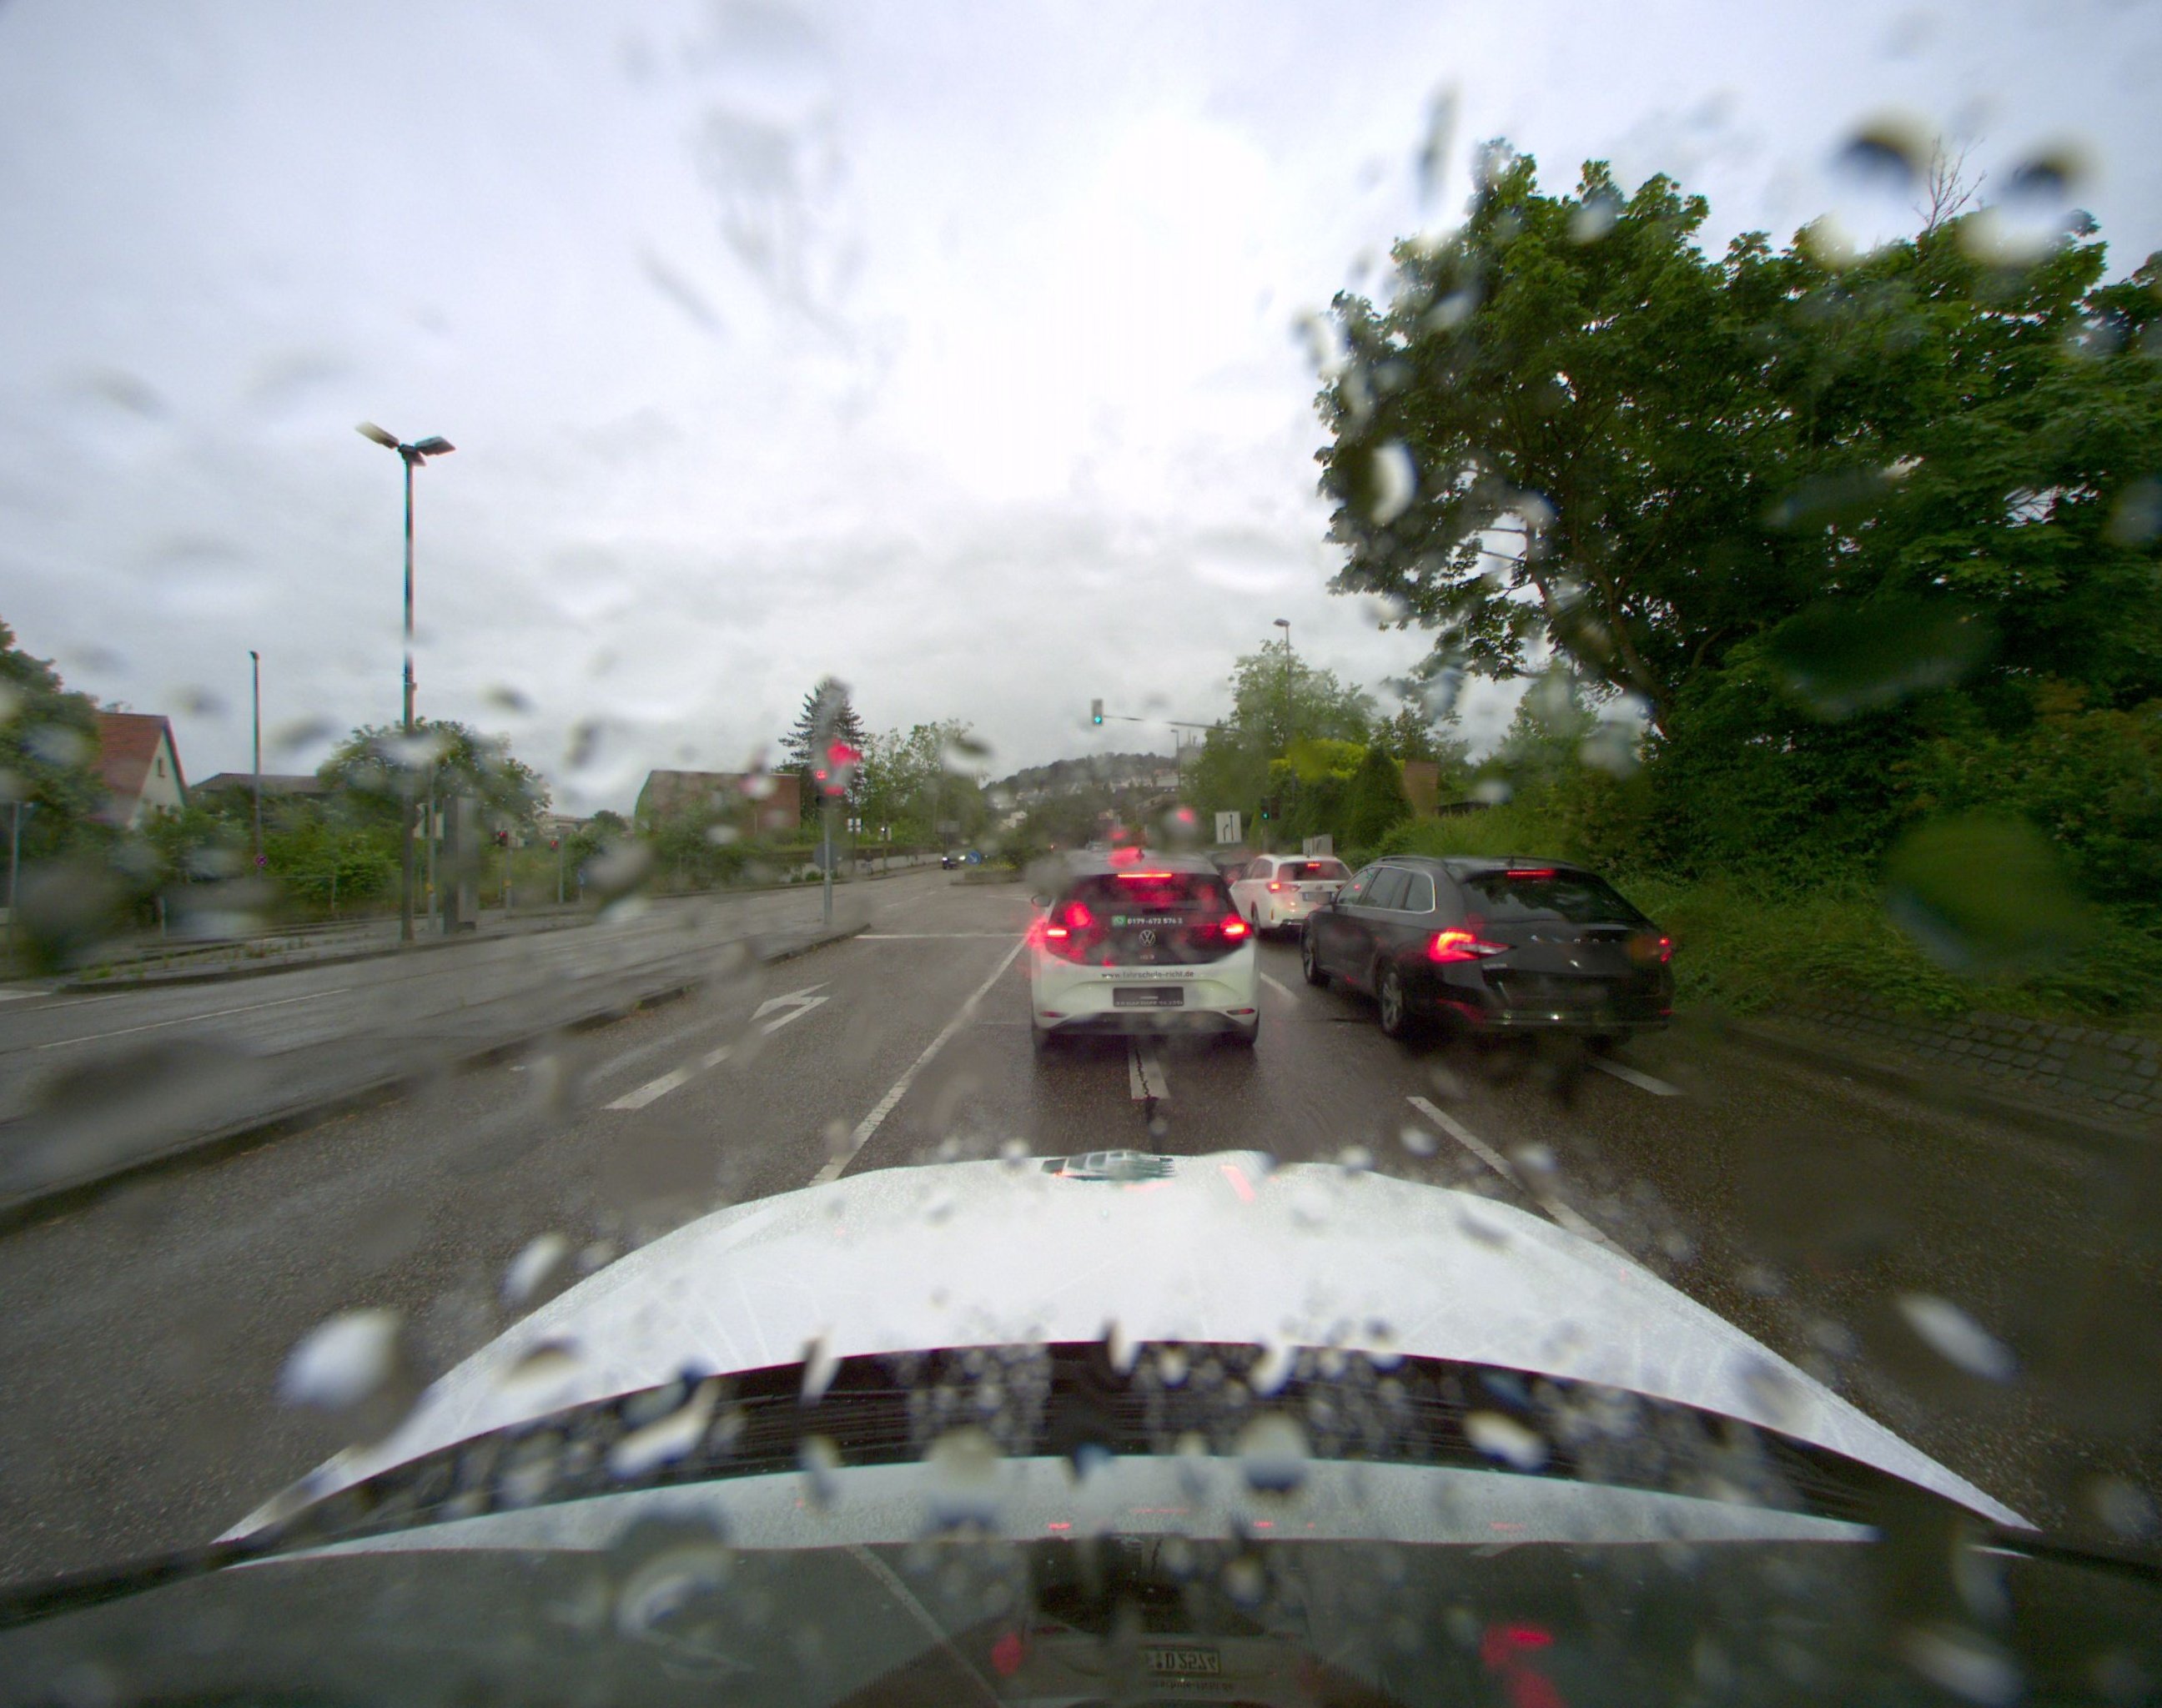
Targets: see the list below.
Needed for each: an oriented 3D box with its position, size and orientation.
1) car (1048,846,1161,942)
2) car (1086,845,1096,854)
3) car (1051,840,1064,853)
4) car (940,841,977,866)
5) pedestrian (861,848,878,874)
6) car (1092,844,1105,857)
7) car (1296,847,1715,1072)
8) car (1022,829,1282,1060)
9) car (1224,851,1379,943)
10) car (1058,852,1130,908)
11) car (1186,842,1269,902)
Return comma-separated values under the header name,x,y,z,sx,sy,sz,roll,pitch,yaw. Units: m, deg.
name,x,y,z,sx,sy,sz,roll,pitch,yaw
car,0.435,0.637,15.281,1.831,1.555,4.176,0,0,1
car,1.752,-0.822,142.400,1.755,1.418,3.748,-3,0,0
car,-4.111,-1.257,140.588,1.986,2.014,4.002,-1,-1,2
car,-9.495,-0.043,63.476,1.986,1.804,4.002,-4,0,2
pedestrian,-13.461,0.458,51.774,0.757,1.568,0.825,-4,0,1
car,2.253,-0.445,106.767,1.575,1.467,4.000,-3,-1,1
car,3.355,0.676,7.529,1.830,1.466,4.353,0,0,3
car,0.555,0.626,8.059,1.831,1.629,4.617,0,0,1
car,3.875,0.676,15.029,1.831,1.466,4.118,0,0,1
car,0.364,0.656,22.572,1.831,1.400,3.832,0,0,1
car,4.099,0.475,23.348,1.769,1.581,4.002,0,0,2
